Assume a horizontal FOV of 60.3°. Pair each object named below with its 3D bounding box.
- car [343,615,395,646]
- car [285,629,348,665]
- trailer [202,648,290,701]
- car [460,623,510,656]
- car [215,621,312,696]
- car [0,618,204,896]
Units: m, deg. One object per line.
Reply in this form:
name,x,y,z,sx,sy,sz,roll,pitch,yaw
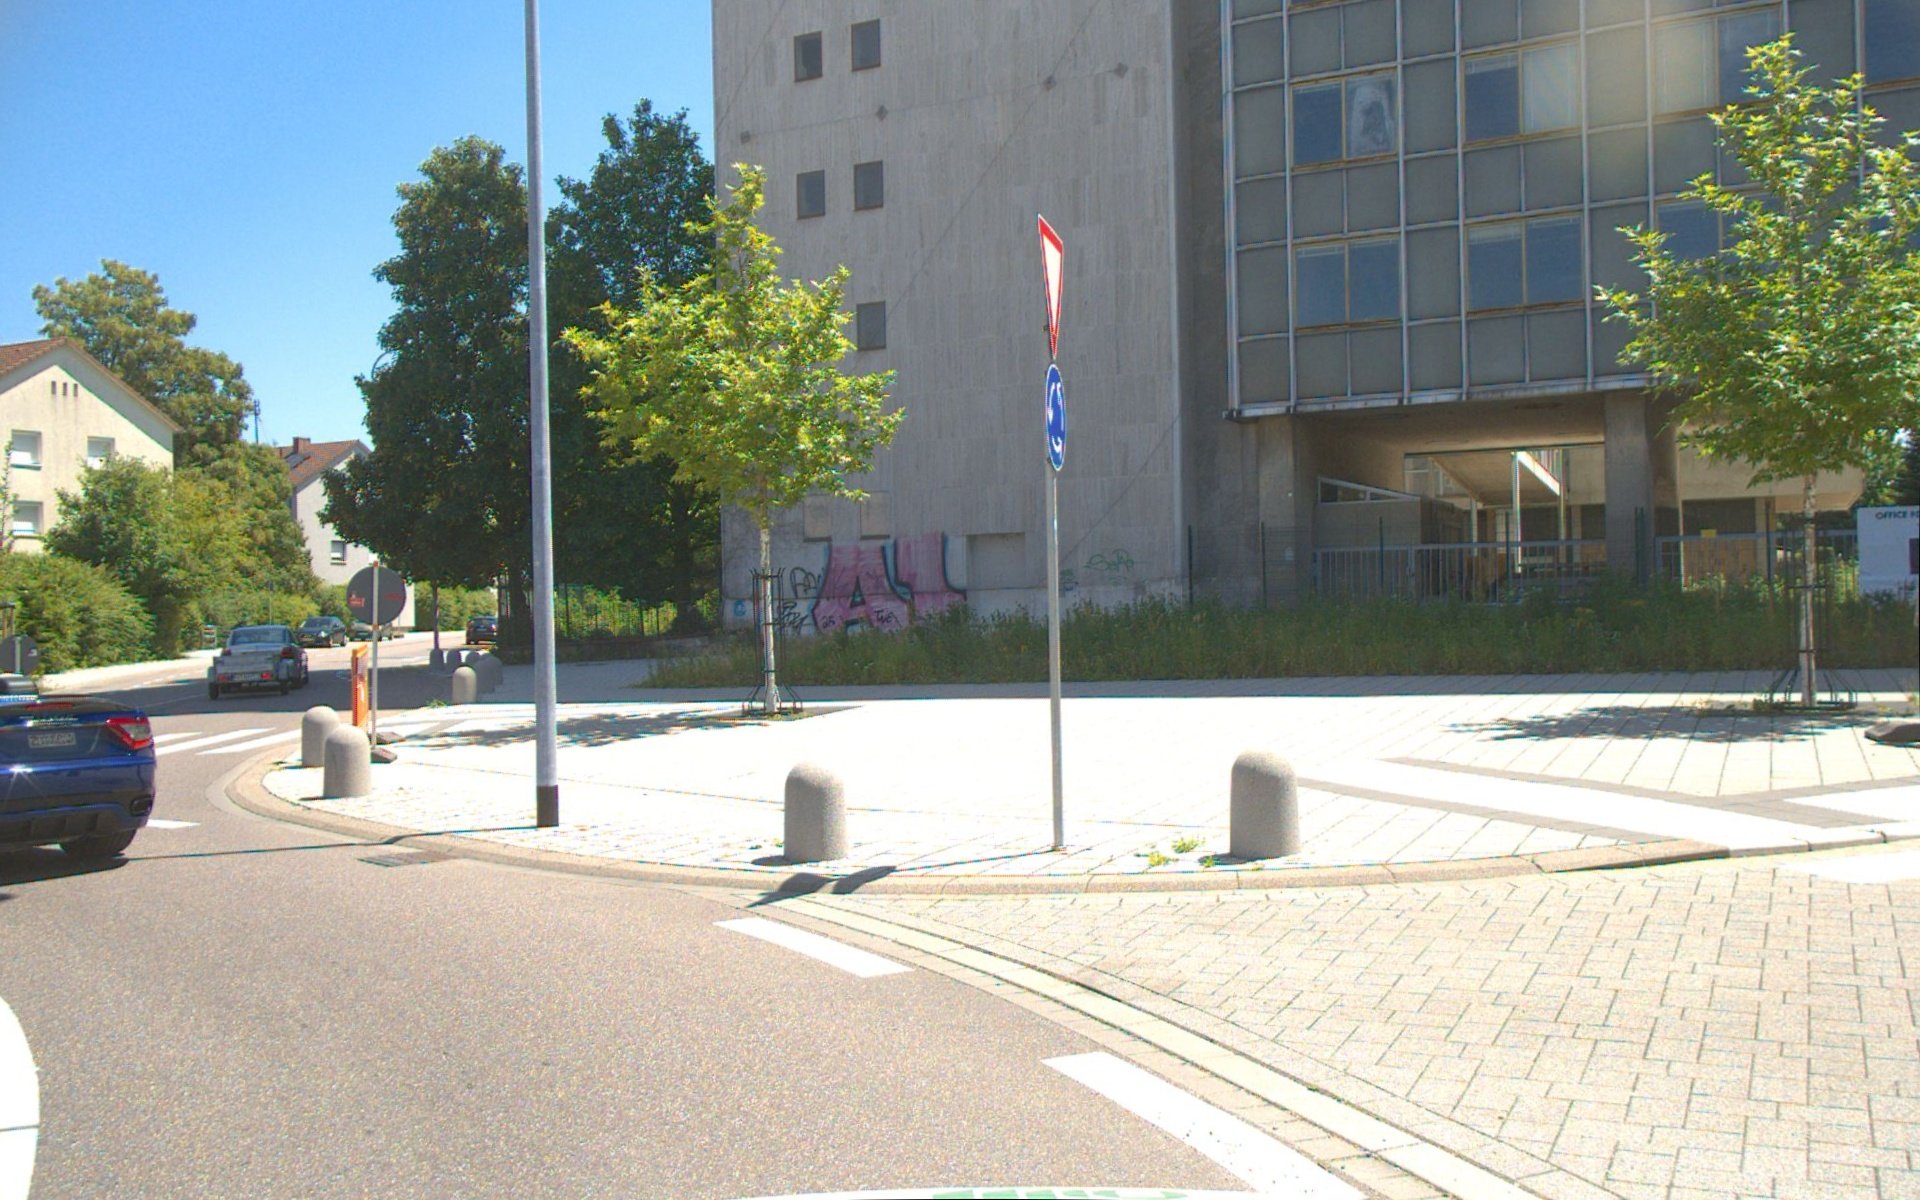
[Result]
car,-31.699,1.623,88.806,1.705,1.461,3.706,-3,1,-5
car,-29.984,2.187,77.109,1.705,1.461,3.706,-3,1,-5
trailer,-14.191,1.467,32.966,1.427,0.887,2.528,-2,0,-20
car,-23.950,1.953,83.523,1.705,1.461,3.706,-3,1,-6
car,-15.452,1.262,36.853,1.713,1.461,3.689,-3,1,-20
car,-7.063,1.000,10.793,4.414,1.557,1.871,-4,-3,34
